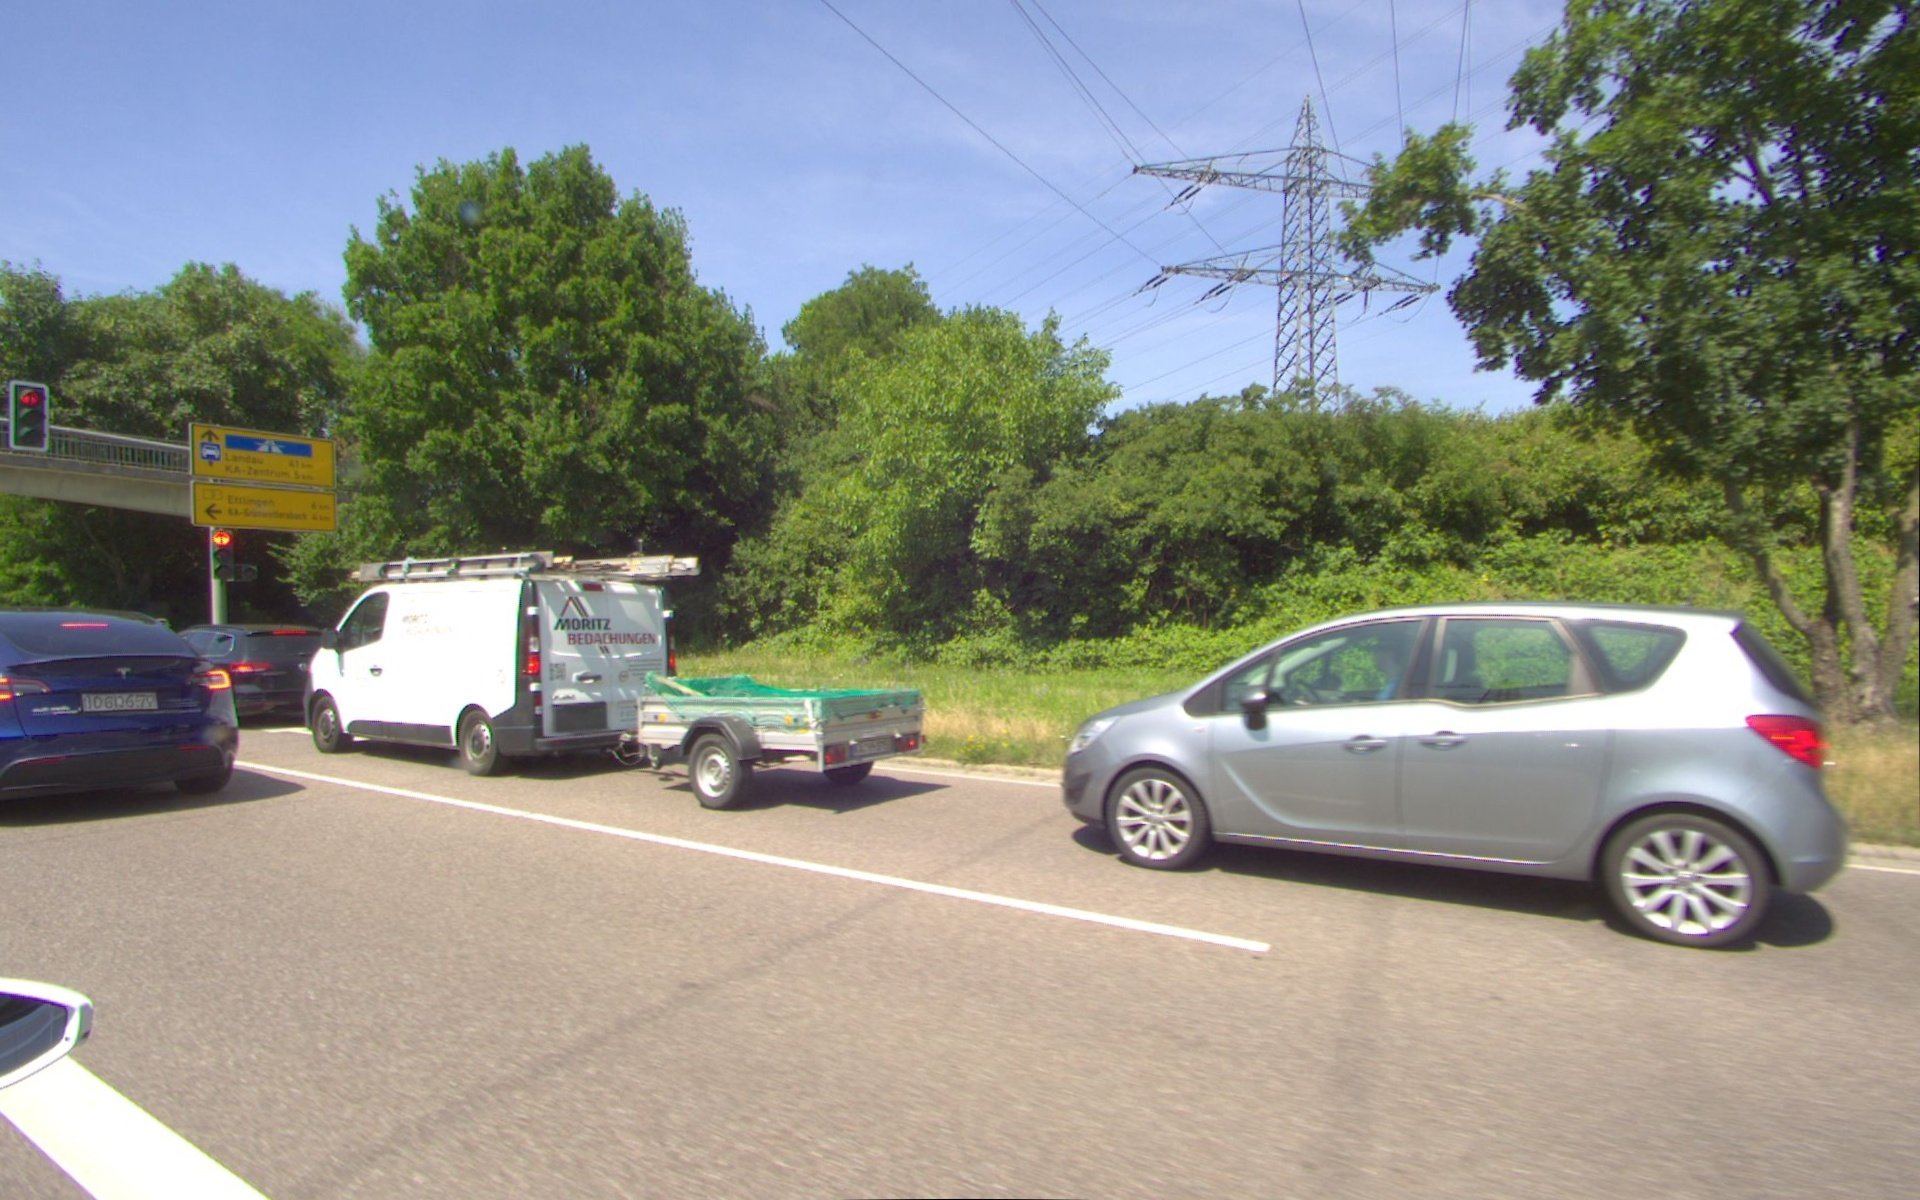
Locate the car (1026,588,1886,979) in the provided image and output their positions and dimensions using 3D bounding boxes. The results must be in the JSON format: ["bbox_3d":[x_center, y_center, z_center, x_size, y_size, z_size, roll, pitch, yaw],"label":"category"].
[{"bbox_3d":[2.604,0.778,6.025,4.107,1.617,1.760,0,0,34],"label":"car"}]

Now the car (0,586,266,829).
[{"bbox_3d":[-8.057,0.768,8.659,4.458,1.665,1.896,0,-1,34],"label":"car"}]

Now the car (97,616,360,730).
[{"bbox_3d":[-11.209,1.009,15.277,4.320,1.497,1.896,0,-1,34],"label":"car"}]

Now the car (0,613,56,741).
[{"bbox_3d":[-13.064,0.905,12.409,3.884,1.497,1.896,0,-1,34],"label":"car"}]

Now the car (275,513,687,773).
[{"bbox_3d":[-5.554,0.440,11.359,5.004,2.379,1.928,-1,-1,34],"label":"car"}]

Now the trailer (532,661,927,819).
[{"bbox_3d":[-2.112,1.131,9.009,3.277,1.019,1.702,0,-1,34],"label":"trailer"}]
